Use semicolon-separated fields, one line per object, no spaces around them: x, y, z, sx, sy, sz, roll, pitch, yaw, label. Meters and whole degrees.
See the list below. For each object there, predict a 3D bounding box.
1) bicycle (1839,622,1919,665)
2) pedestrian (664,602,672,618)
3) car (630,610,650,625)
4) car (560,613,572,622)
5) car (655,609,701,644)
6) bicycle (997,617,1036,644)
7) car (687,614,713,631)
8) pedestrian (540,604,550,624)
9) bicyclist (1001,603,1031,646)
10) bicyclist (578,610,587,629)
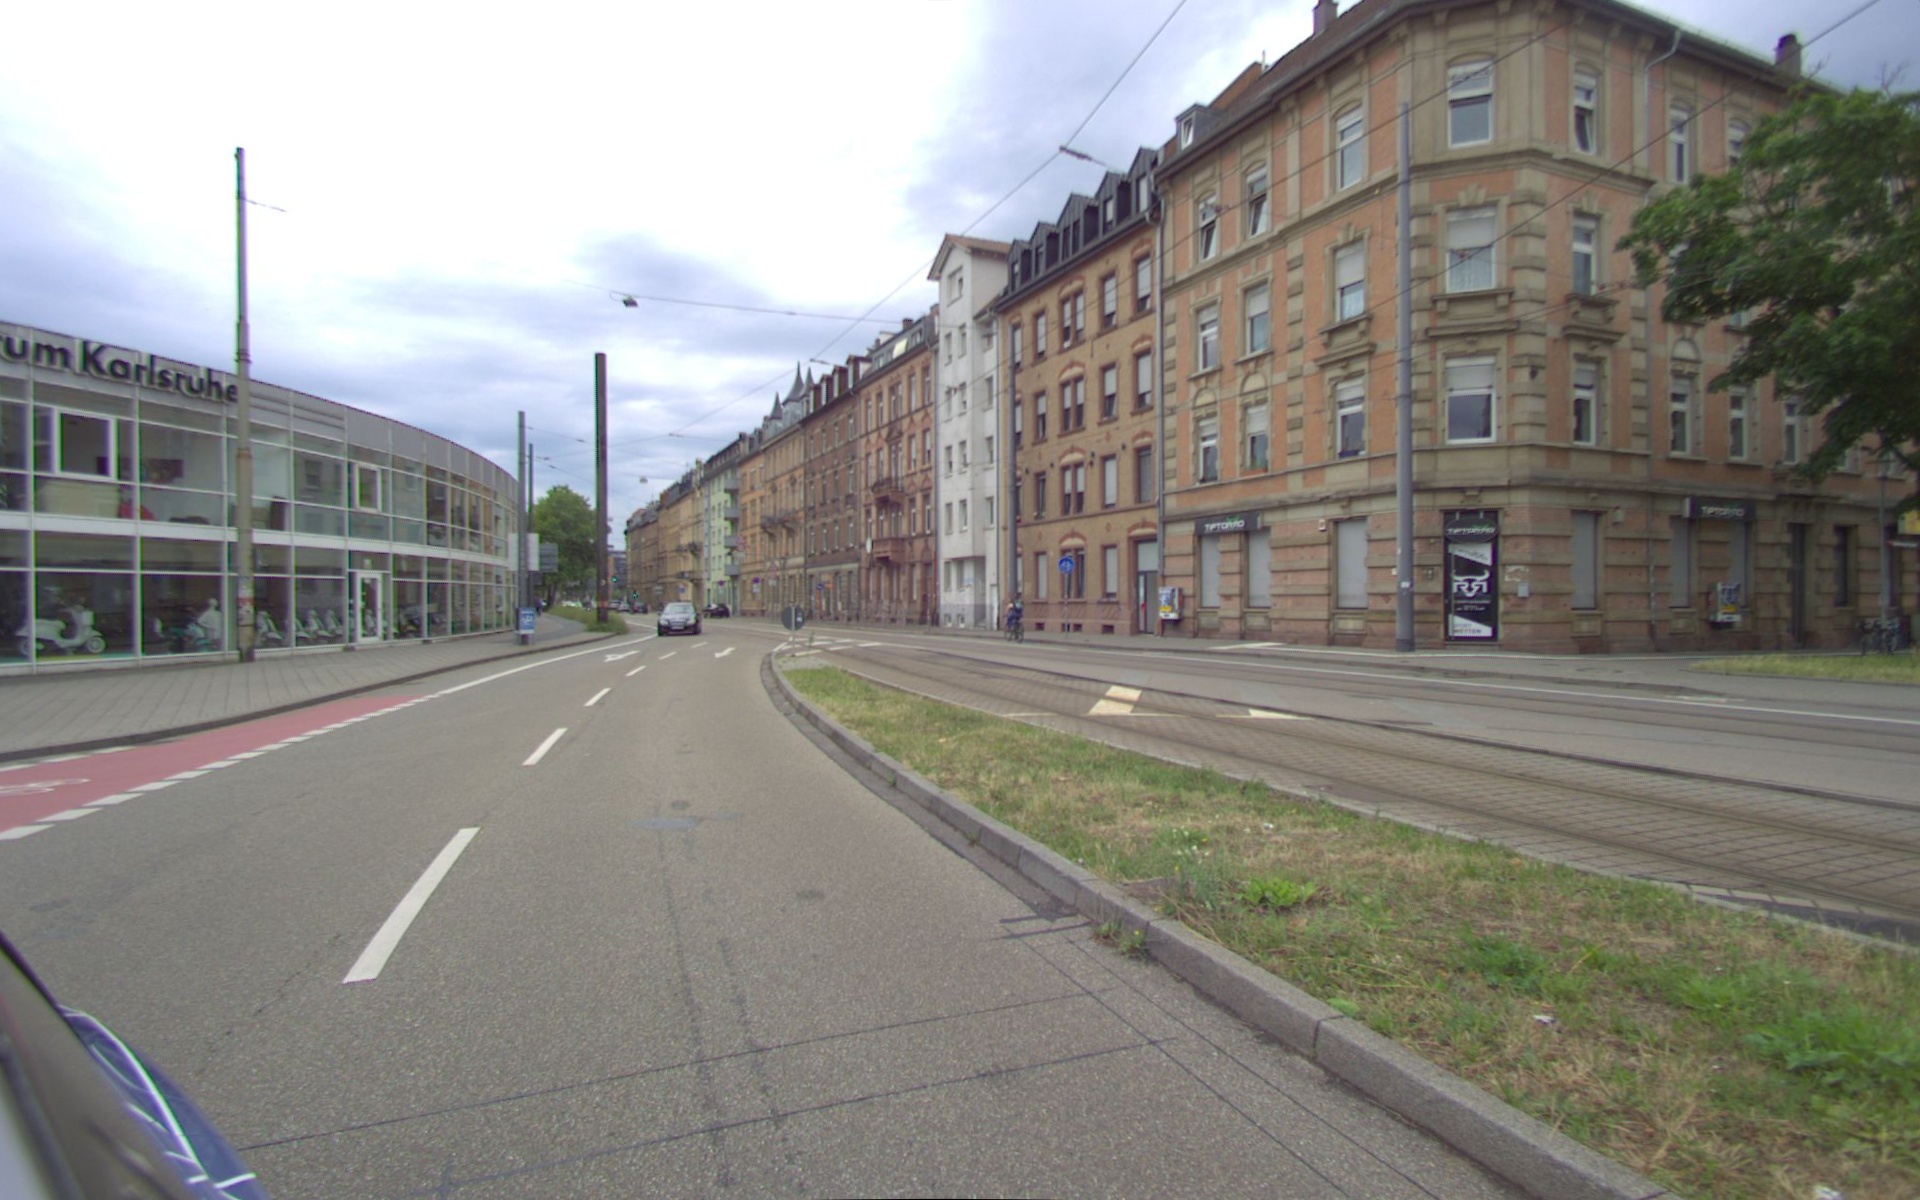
21.639;0.995;23.720;0.655;0.921;1.982;-1;0;11;bicycle
-36.794;1.257;127.591;0.797;2.029;0.702;0;-1;-23;pedestrian
-36.618;1.974;115.737;1.772;1.652;4.244;0;0;-23;car
-70.741;3.087;181.645;1.772;1.652;4.244;0;0;-23;car
-12.227;1.113;44.080;1.687;1.432;4.080;0;0;-12;car
1.993;1.071;35.865;0.597;0.922;1.725;-1;0;-27;bicycle
-23.917;2.037;93.026;1.822;1.491;3.840;0;0;-21;car
-38.228;1.289;93.155;0.856;1.868;0.708;0;0;-23;pedestrian
1.985;0.854;35.882;0.652;1.505;0.945;-1;-1;-27;bicyclist
-34.849;1.816;93.398;0.718;1.770;0.913;0;-1;-17;bicyclist
